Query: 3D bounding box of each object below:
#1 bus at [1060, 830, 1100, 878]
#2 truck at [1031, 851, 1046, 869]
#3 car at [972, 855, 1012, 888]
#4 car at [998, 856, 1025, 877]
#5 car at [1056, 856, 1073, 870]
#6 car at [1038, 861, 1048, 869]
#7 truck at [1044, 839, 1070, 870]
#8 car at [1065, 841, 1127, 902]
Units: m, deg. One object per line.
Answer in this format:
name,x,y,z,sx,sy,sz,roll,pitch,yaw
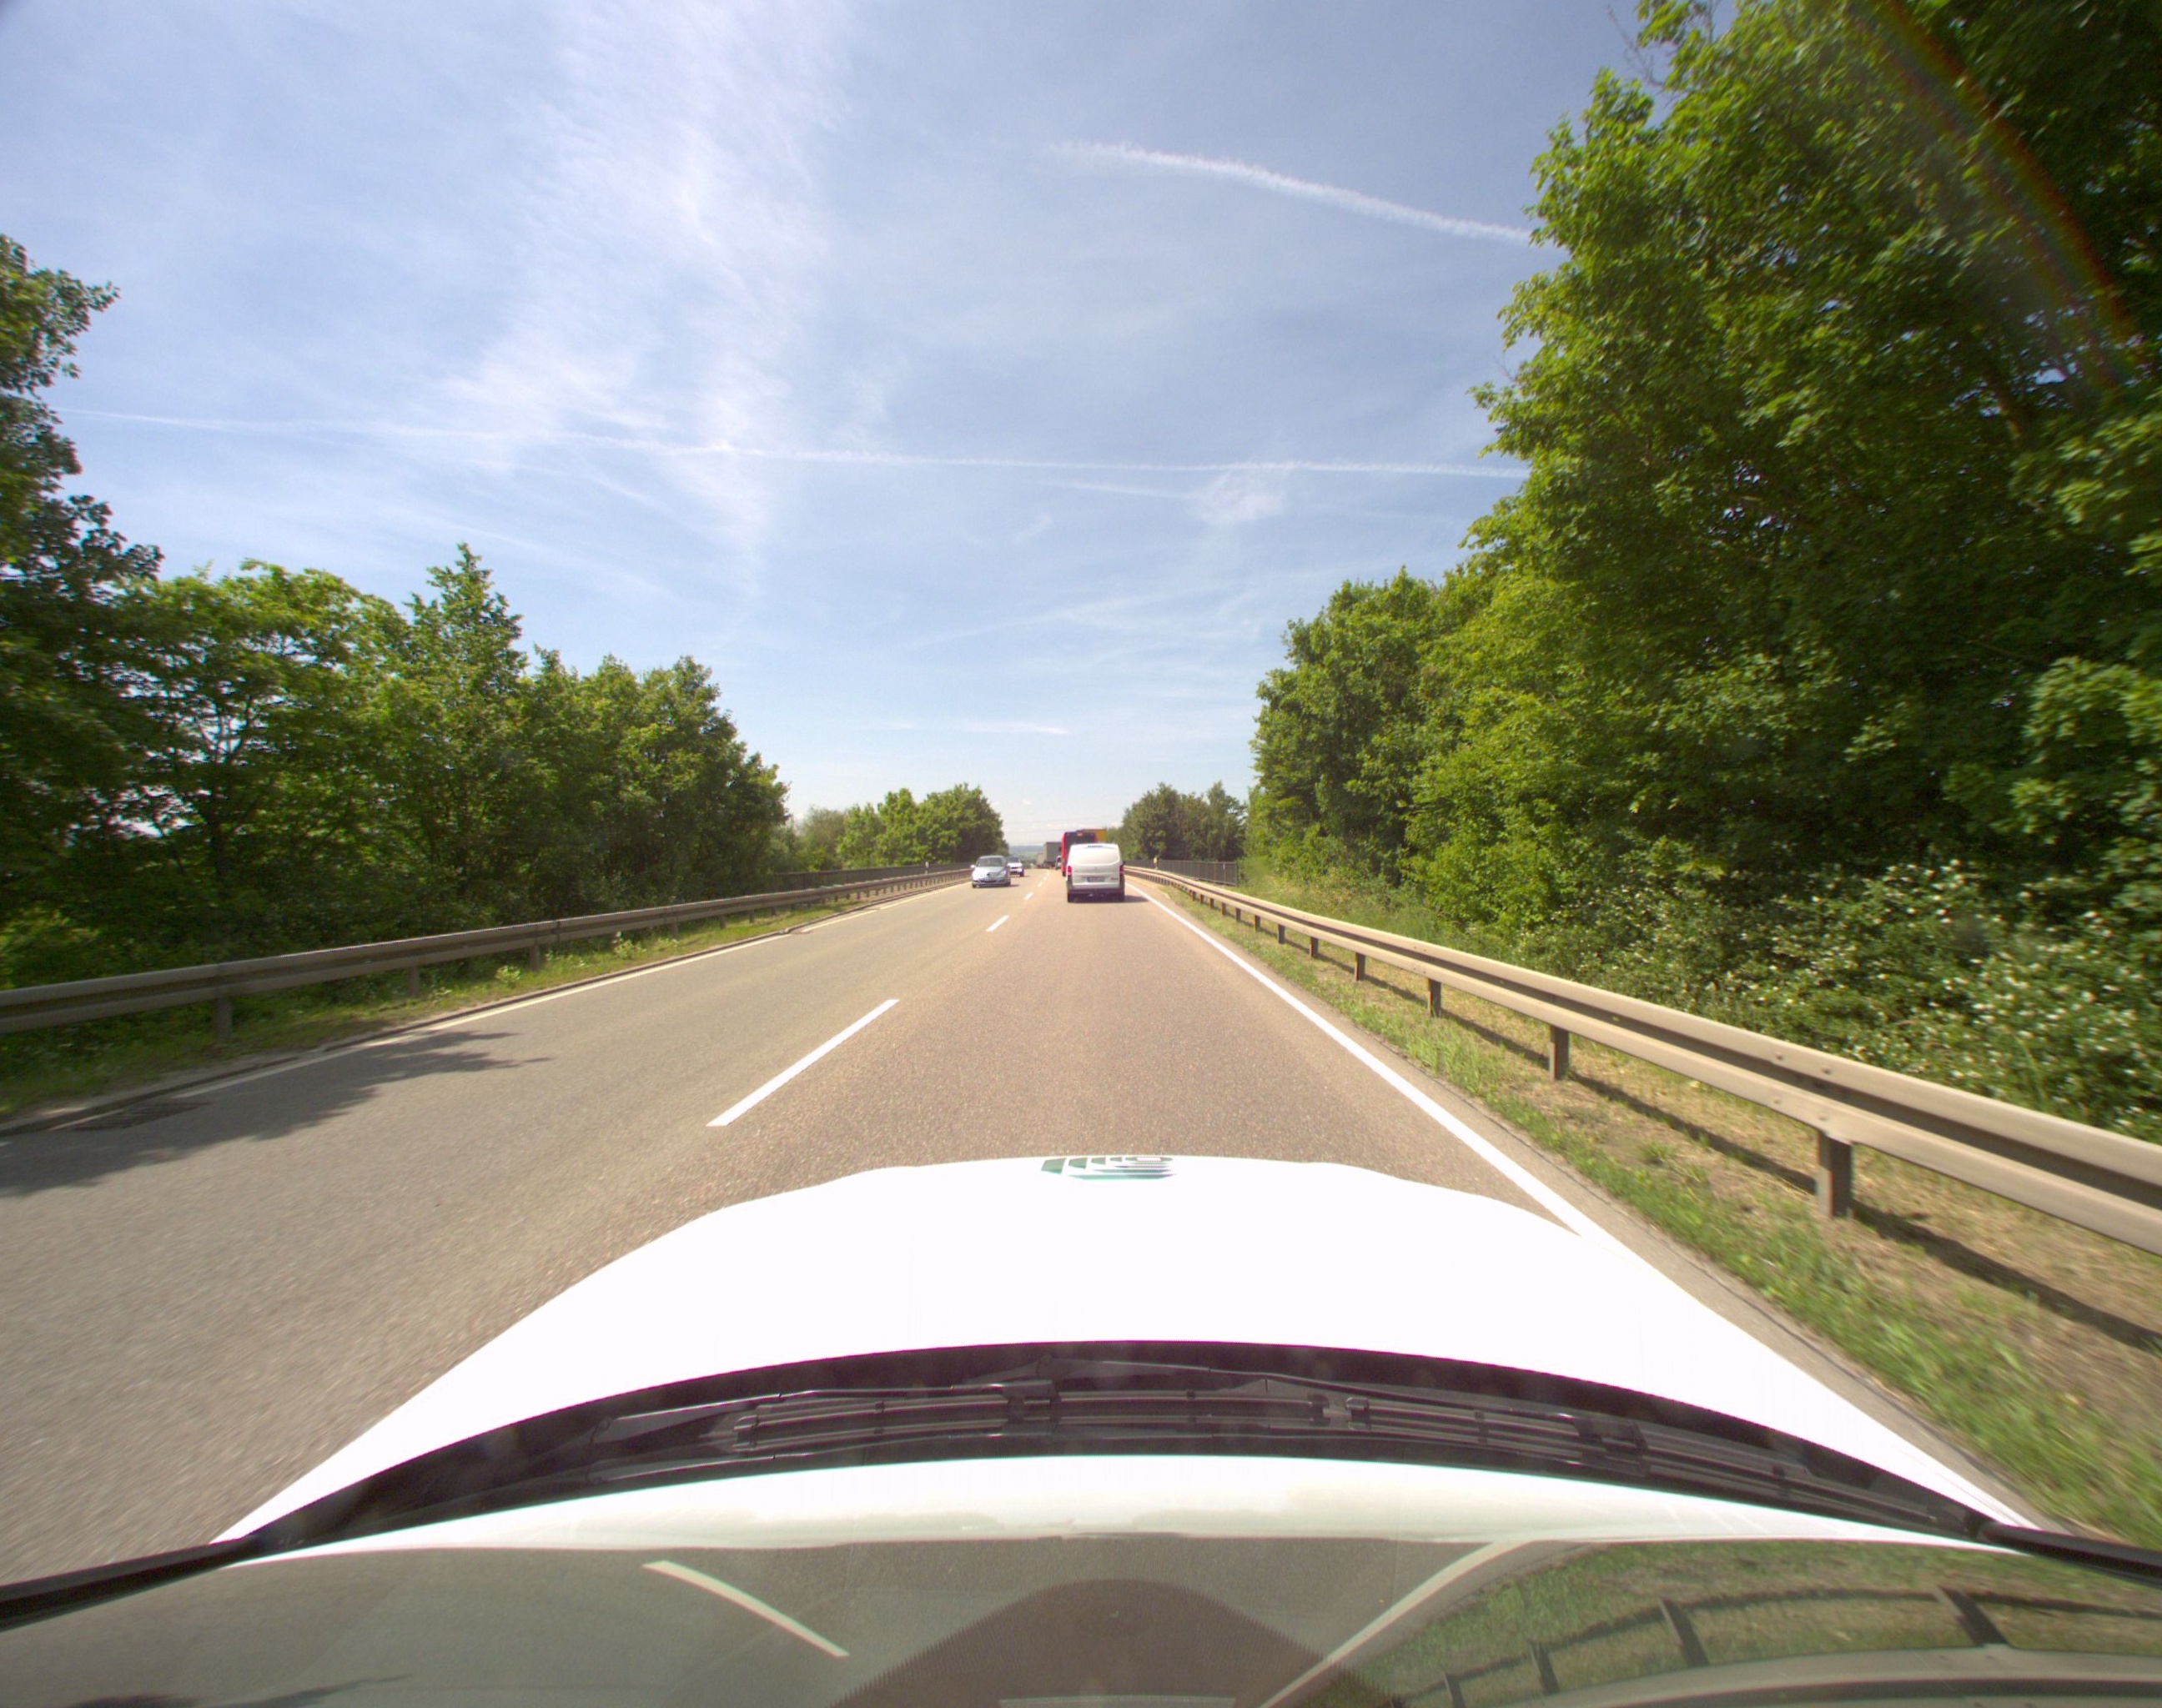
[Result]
bus,-0.166,-0.003,63.570,2.739,3.353,13.216,-1,0,-1
truck,-11.121,1.458,210.763,3.032,4.454,14.869,-1,0,-6
car,-4.561,0.857,42.202,1.655,1.551,4.334,-1,0,-2
car,-5.329,0.922,63.202,1.875,1.511,4.539,-1,0,-3
car,-2.173,1.165,104.442,1.990,1.816,3.994,0,-1,-4
car,-8.829,2.538,188.266,1.991,1.816,3.991,0,-1,-6
truck,-3.848,0.114,126.935,3.481,4.423,14.882,-1,0,-4
car,0.428,0.552,27.494,1.918,1.889,3.998,0,0,-1
